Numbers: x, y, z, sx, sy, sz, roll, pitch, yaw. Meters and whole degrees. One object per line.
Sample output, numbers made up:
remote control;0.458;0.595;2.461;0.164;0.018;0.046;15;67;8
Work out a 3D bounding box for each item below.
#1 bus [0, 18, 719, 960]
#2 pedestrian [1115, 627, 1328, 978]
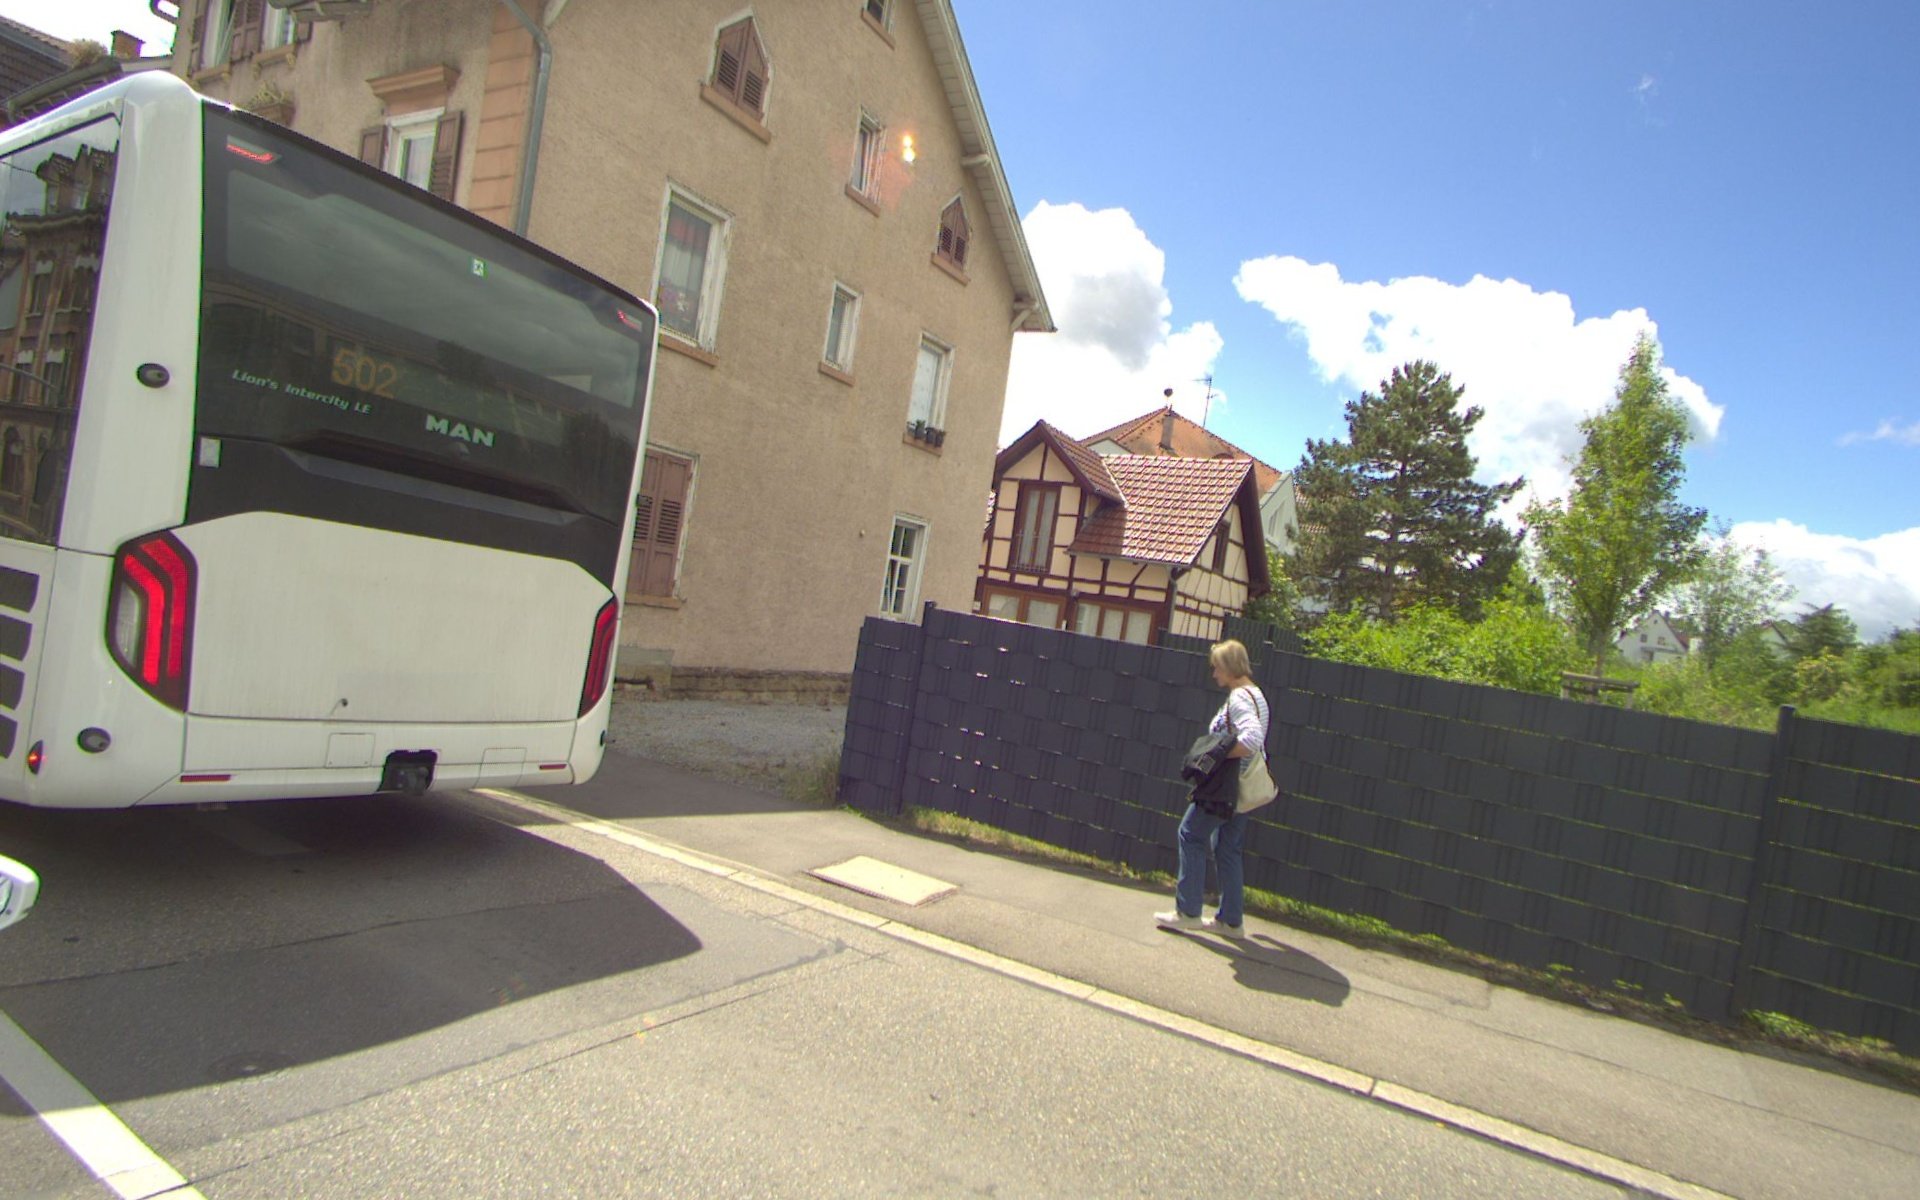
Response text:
bus;-7.410;-0.856;7.762;12.255;3.192;2.678;7;-2;32
pedestrian;1.388;0.988;5.273;0.700;1.581;0.860;7;1;31
